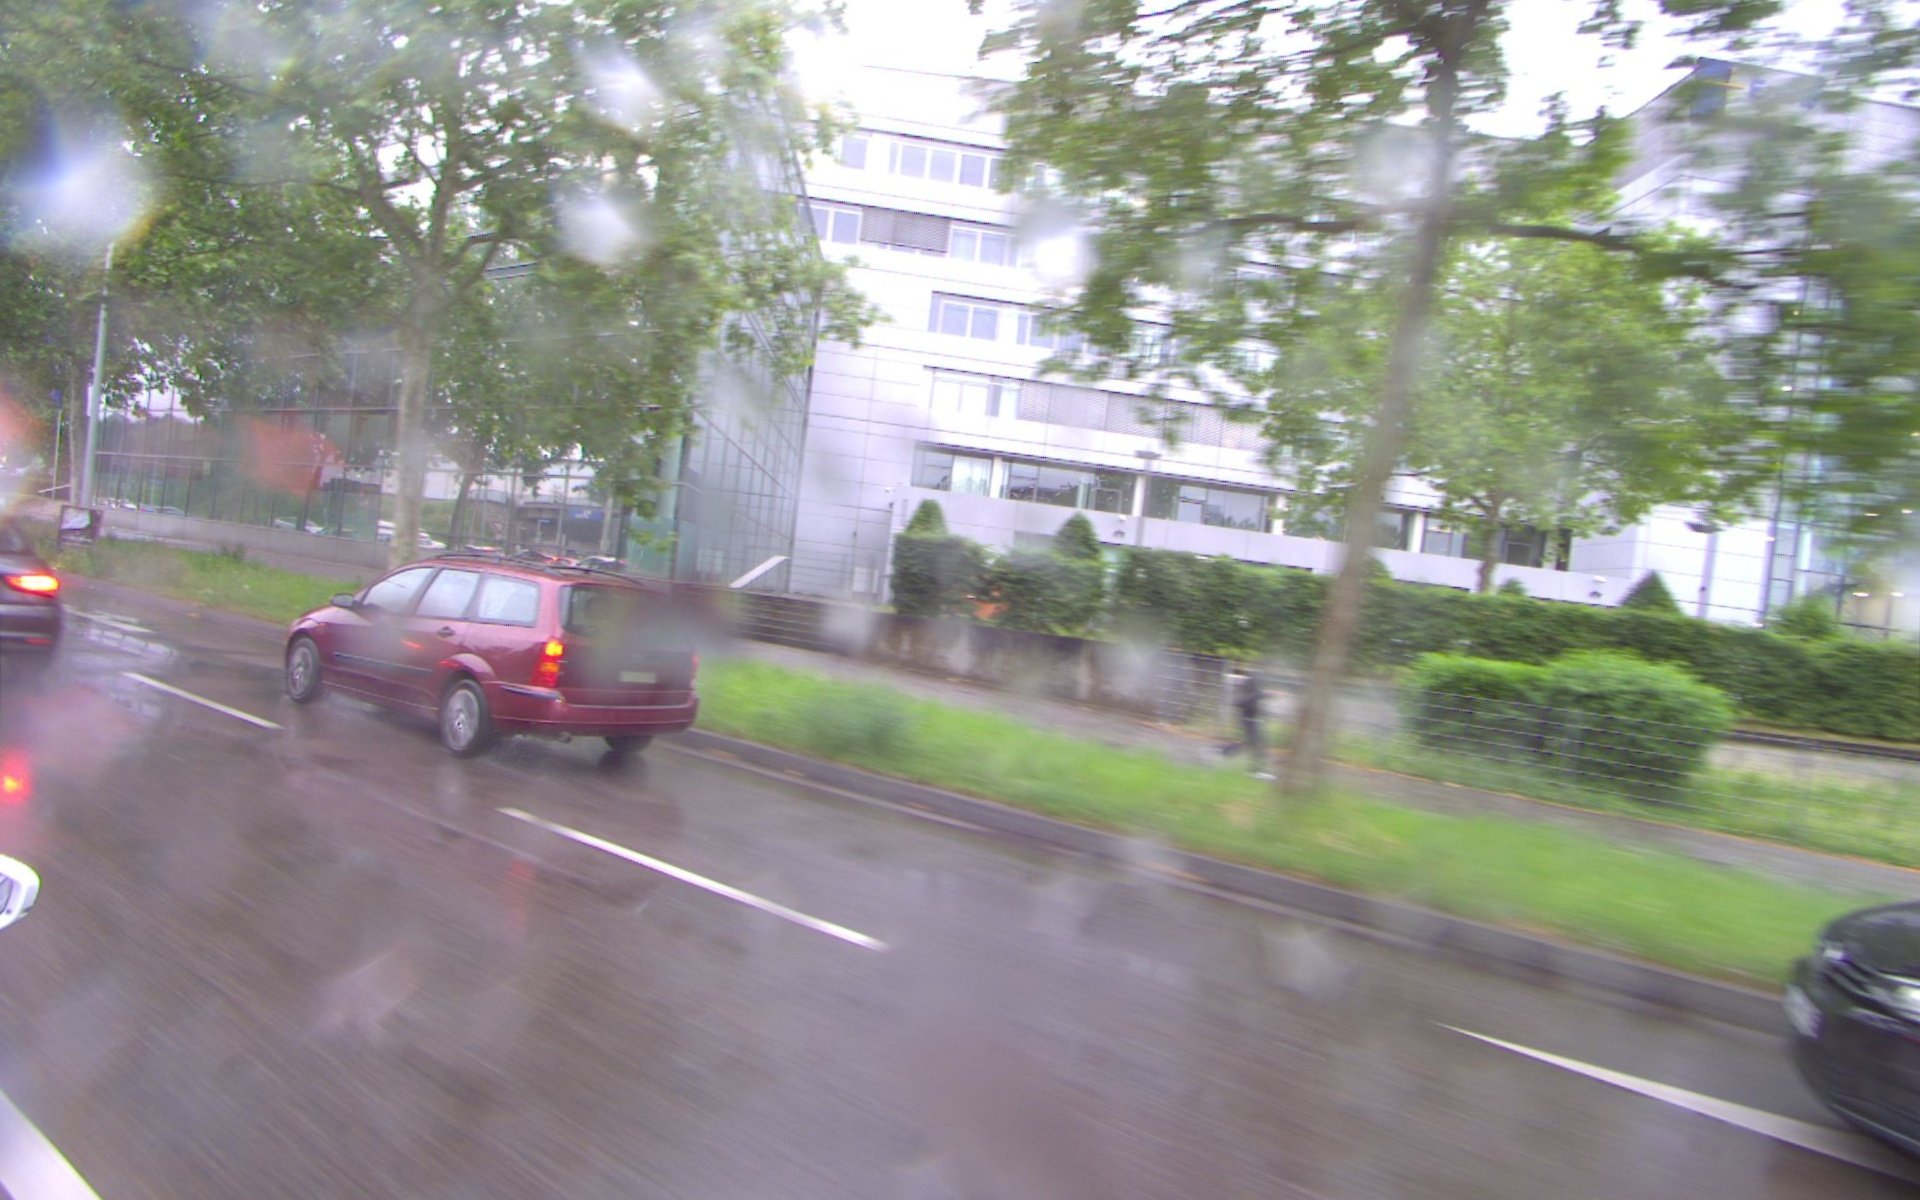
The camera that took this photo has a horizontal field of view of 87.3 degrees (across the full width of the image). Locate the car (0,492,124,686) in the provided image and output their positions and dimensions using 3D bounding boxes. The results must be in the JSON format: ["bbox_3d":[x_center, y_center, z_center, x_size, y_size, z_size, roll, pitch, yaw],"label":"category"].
[{"bbox_3d":[-9.148,-0.302,8.439,3.933,1.469,1.997,6,-2,31],"label":"car"}]

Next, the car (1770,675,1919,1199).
[{"bbox_3d":[5.137,1.365,2.791,4.121,1.746,1.860,6,-1,31],"label":"car"}]

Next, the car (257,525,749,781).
[{"bbox_3d":[-4.061,0.374,8.799,4.043,1.554,1.843,6,-2,32],"label":"car"}]

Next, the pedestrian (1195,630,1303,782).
[{"bbox_3d":[3.769,1.358,13.101,1.057,1.783,0.665,7,0,26],"label":"pedestrian"}]
